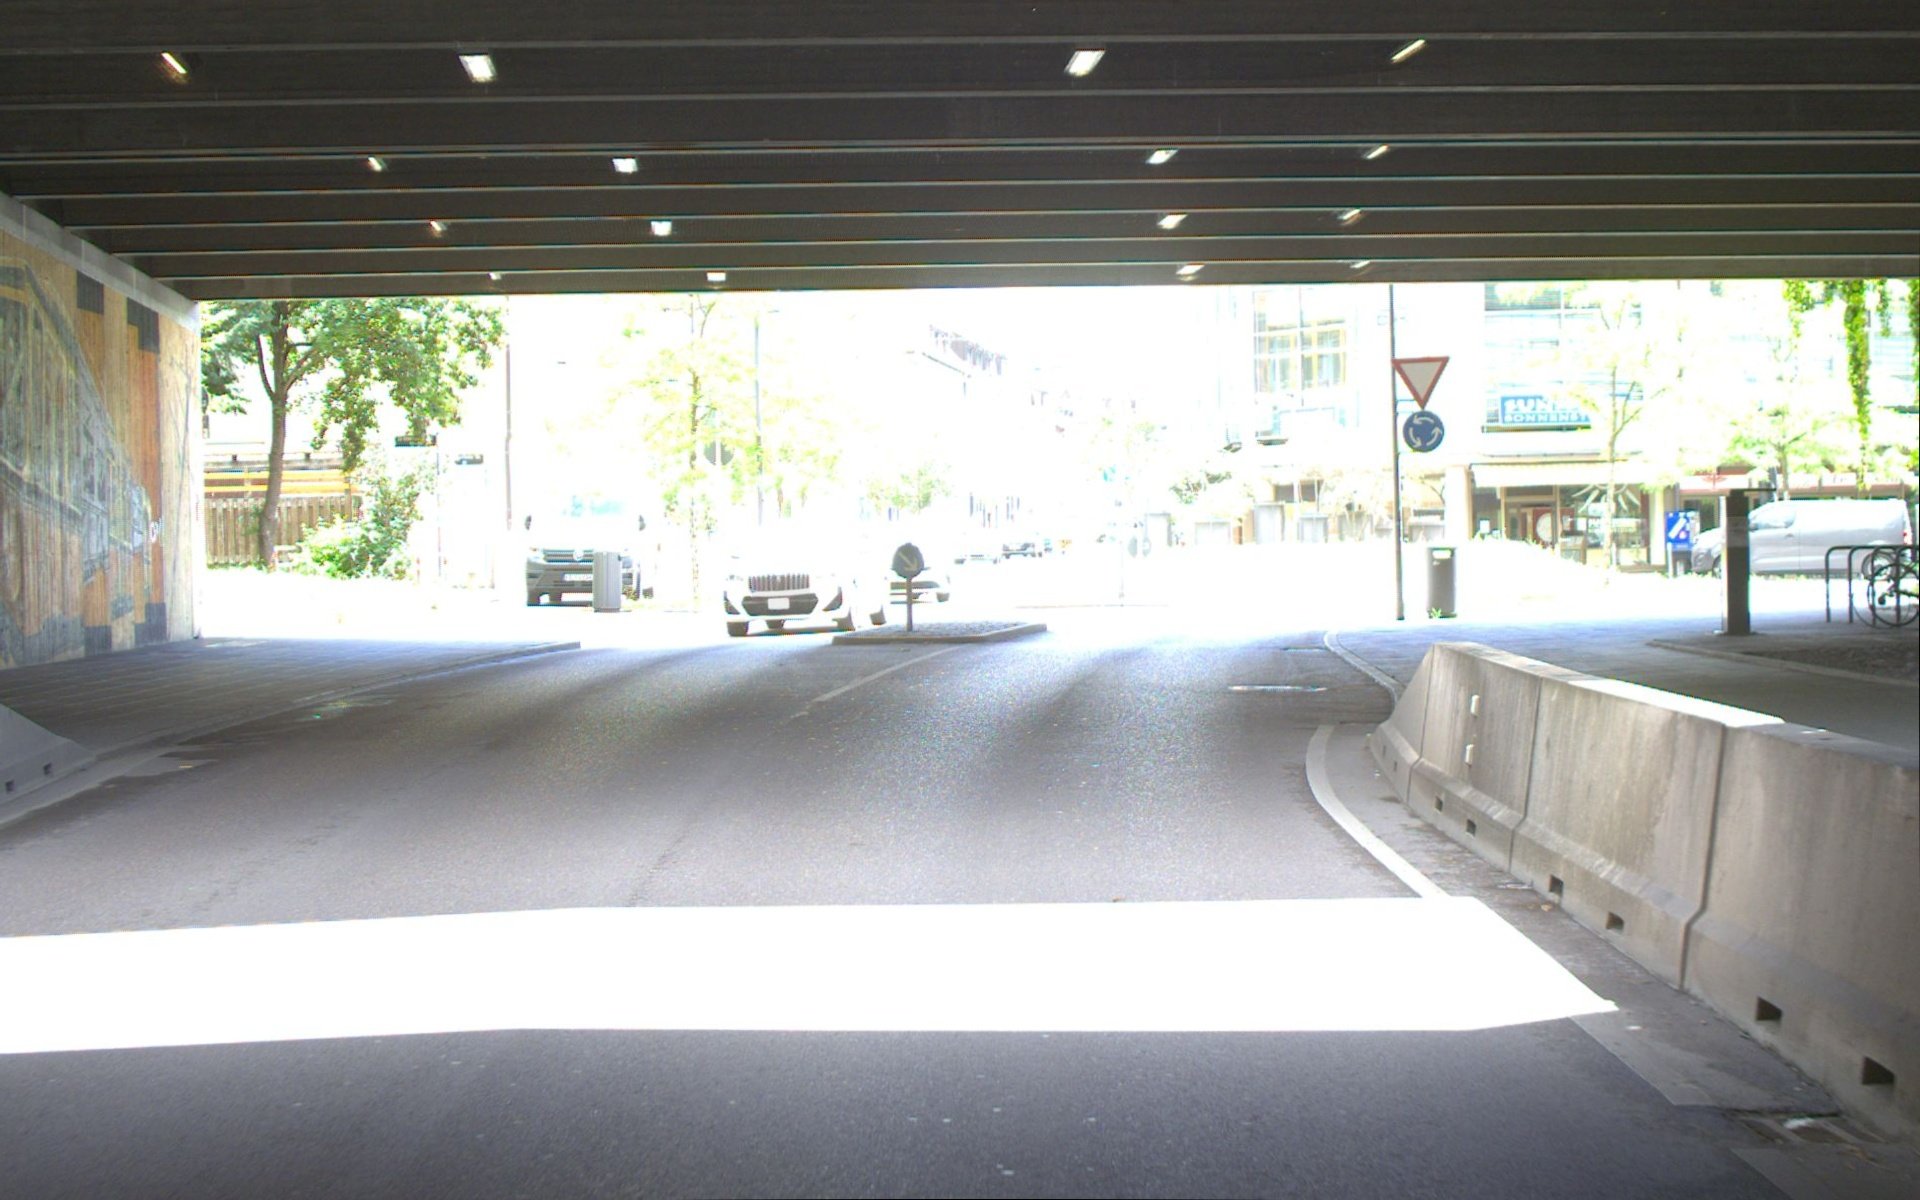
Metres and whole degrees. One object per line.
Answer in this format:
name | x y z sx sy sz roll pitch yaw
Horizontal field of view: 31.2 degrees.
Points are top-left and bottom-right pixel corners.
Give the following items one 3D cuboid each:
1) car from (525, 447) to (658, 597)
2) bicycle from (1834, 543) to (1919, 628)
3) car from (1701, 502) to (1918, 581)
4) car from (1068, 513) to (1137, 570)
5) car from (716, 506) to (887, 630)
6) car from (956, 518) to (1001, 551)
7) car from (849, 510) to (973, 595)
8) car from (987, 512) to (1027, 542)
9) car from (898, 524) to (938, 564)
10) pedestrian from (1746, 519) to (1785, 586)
car | -6.704 -1.424 63.030 1.967 2.598 5.931 1 1 -2
bicycle | 10.675 -0.179 37.845 1.945 0.901 0.507 -2 0 -1
car | 19.200 -1.328 77.880 4.680 1.682 1.999 -1 1 12
car | 3.888 -1.599 94.406 1.824 1.514 4.233 -1 1 2
car | -2.226 -0.492 49.403 1.825 1.648 4.213 -2 1 6
car | 0.749 -2.706 141.102 1.709 1.349 4.001 0 1 -1
car | -0.855 -0.875 62.278 1.672 1.442 3.851 -2 1 8
car | 2.163 -3.389 158.929 1.709 1.349 4.001 0 1 -1
car | -1.864 -2.483 150.933 1.709 1.706 4.001 0 1 -1
pedestrian | 20.082 -1.187 85.720 0.695 1.669 0.617 0 1 -21
